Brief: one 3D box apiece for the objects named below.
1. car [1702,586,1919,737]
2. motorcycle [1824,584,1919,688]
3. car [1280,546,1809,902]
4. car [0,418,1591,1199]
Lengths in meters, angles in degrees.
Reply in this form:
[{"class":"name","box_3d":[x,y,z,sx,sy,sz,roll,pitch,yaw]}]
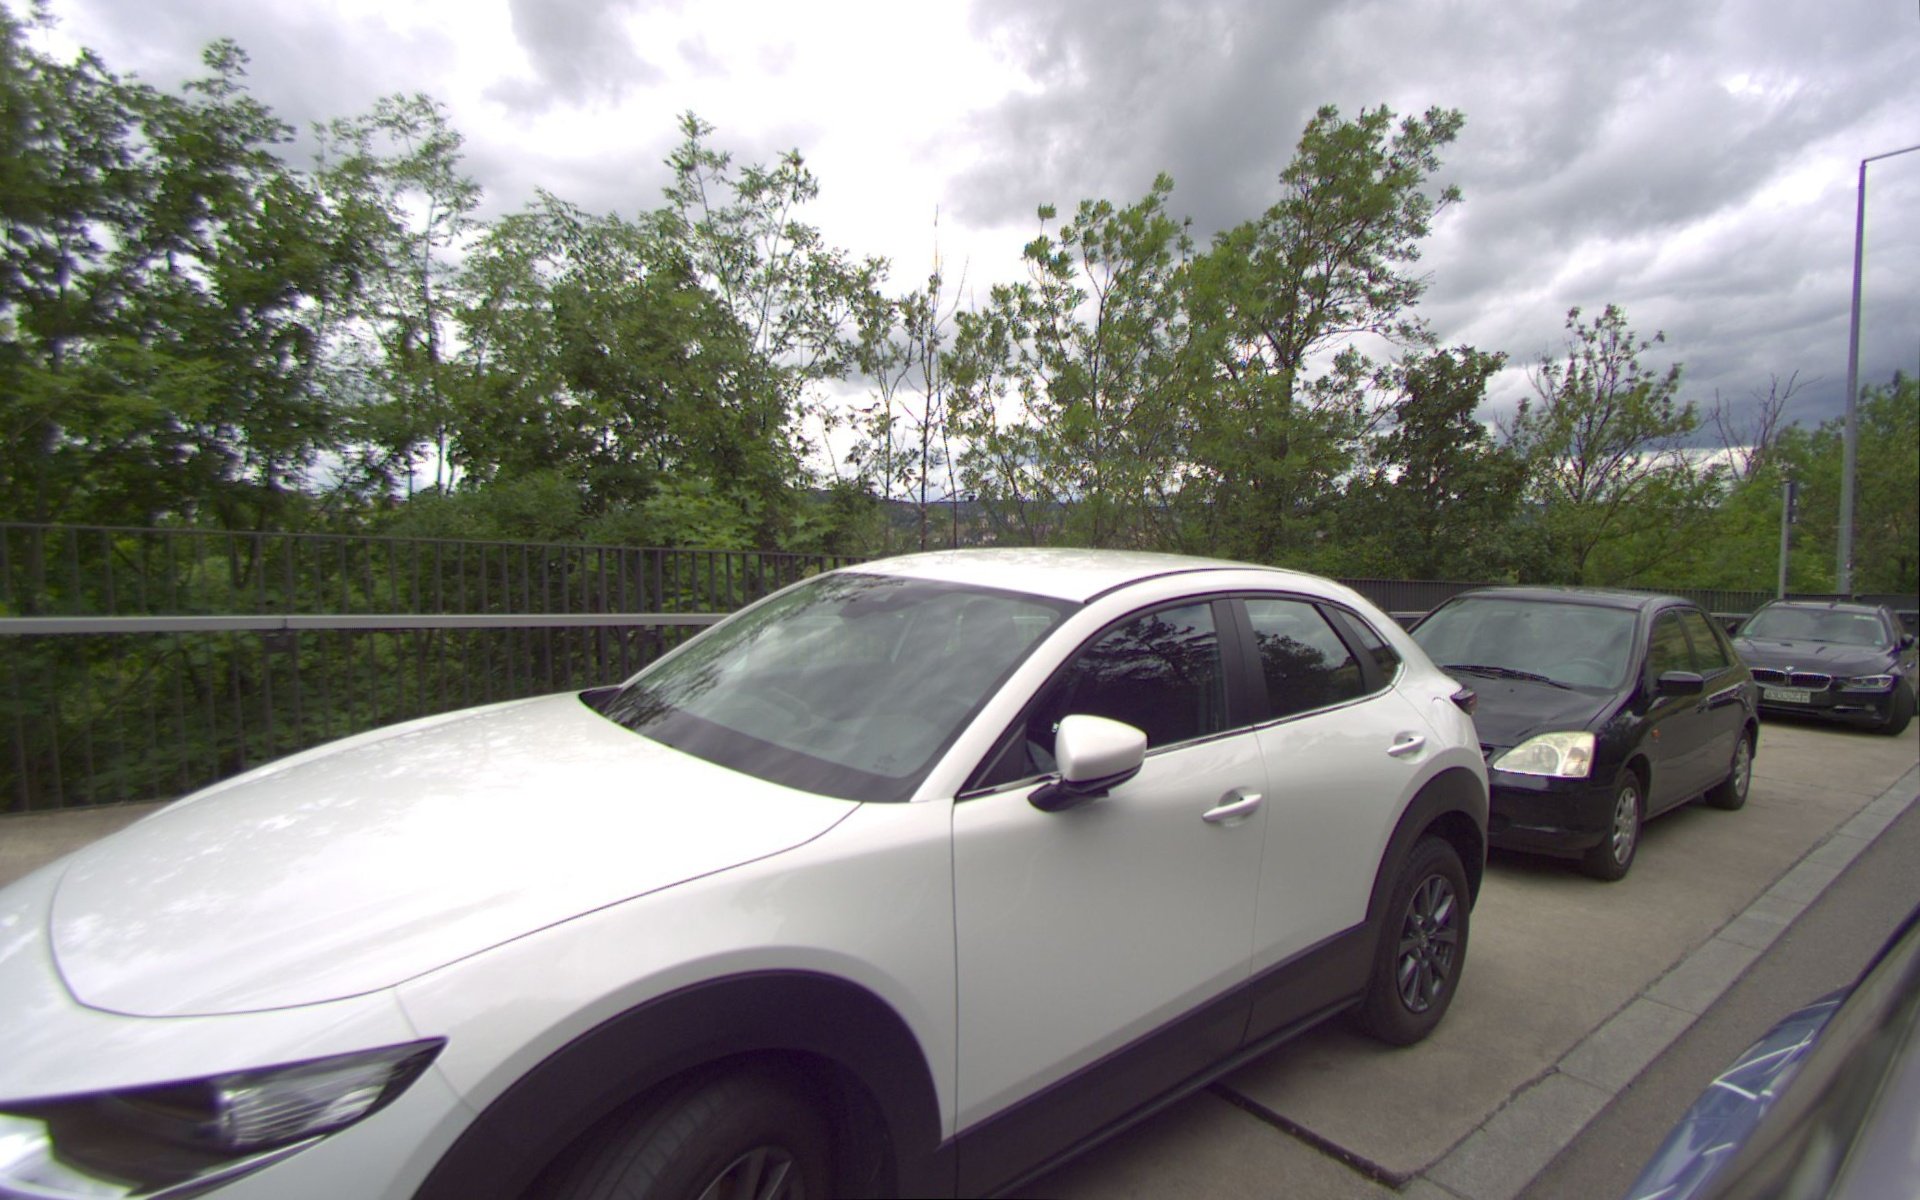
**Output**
[{"class":"car","box_3d":[10.745,0.596,12.348,4.245,1.418,1.827,-1,4,-42]},{"class":"motorcycle","box_3d":[14.357,0.516,15.165,2.453,1.486,0.773,0,1,-12]},{"class":"car","box_3d":[4.045,0.536,6.688,4.181,1.590,1.663,0,5,-41]},{"class":"car","box_3d":[0.101,0.546,3.037,4.543,1.587,1.730,-1,3,-41]}]
